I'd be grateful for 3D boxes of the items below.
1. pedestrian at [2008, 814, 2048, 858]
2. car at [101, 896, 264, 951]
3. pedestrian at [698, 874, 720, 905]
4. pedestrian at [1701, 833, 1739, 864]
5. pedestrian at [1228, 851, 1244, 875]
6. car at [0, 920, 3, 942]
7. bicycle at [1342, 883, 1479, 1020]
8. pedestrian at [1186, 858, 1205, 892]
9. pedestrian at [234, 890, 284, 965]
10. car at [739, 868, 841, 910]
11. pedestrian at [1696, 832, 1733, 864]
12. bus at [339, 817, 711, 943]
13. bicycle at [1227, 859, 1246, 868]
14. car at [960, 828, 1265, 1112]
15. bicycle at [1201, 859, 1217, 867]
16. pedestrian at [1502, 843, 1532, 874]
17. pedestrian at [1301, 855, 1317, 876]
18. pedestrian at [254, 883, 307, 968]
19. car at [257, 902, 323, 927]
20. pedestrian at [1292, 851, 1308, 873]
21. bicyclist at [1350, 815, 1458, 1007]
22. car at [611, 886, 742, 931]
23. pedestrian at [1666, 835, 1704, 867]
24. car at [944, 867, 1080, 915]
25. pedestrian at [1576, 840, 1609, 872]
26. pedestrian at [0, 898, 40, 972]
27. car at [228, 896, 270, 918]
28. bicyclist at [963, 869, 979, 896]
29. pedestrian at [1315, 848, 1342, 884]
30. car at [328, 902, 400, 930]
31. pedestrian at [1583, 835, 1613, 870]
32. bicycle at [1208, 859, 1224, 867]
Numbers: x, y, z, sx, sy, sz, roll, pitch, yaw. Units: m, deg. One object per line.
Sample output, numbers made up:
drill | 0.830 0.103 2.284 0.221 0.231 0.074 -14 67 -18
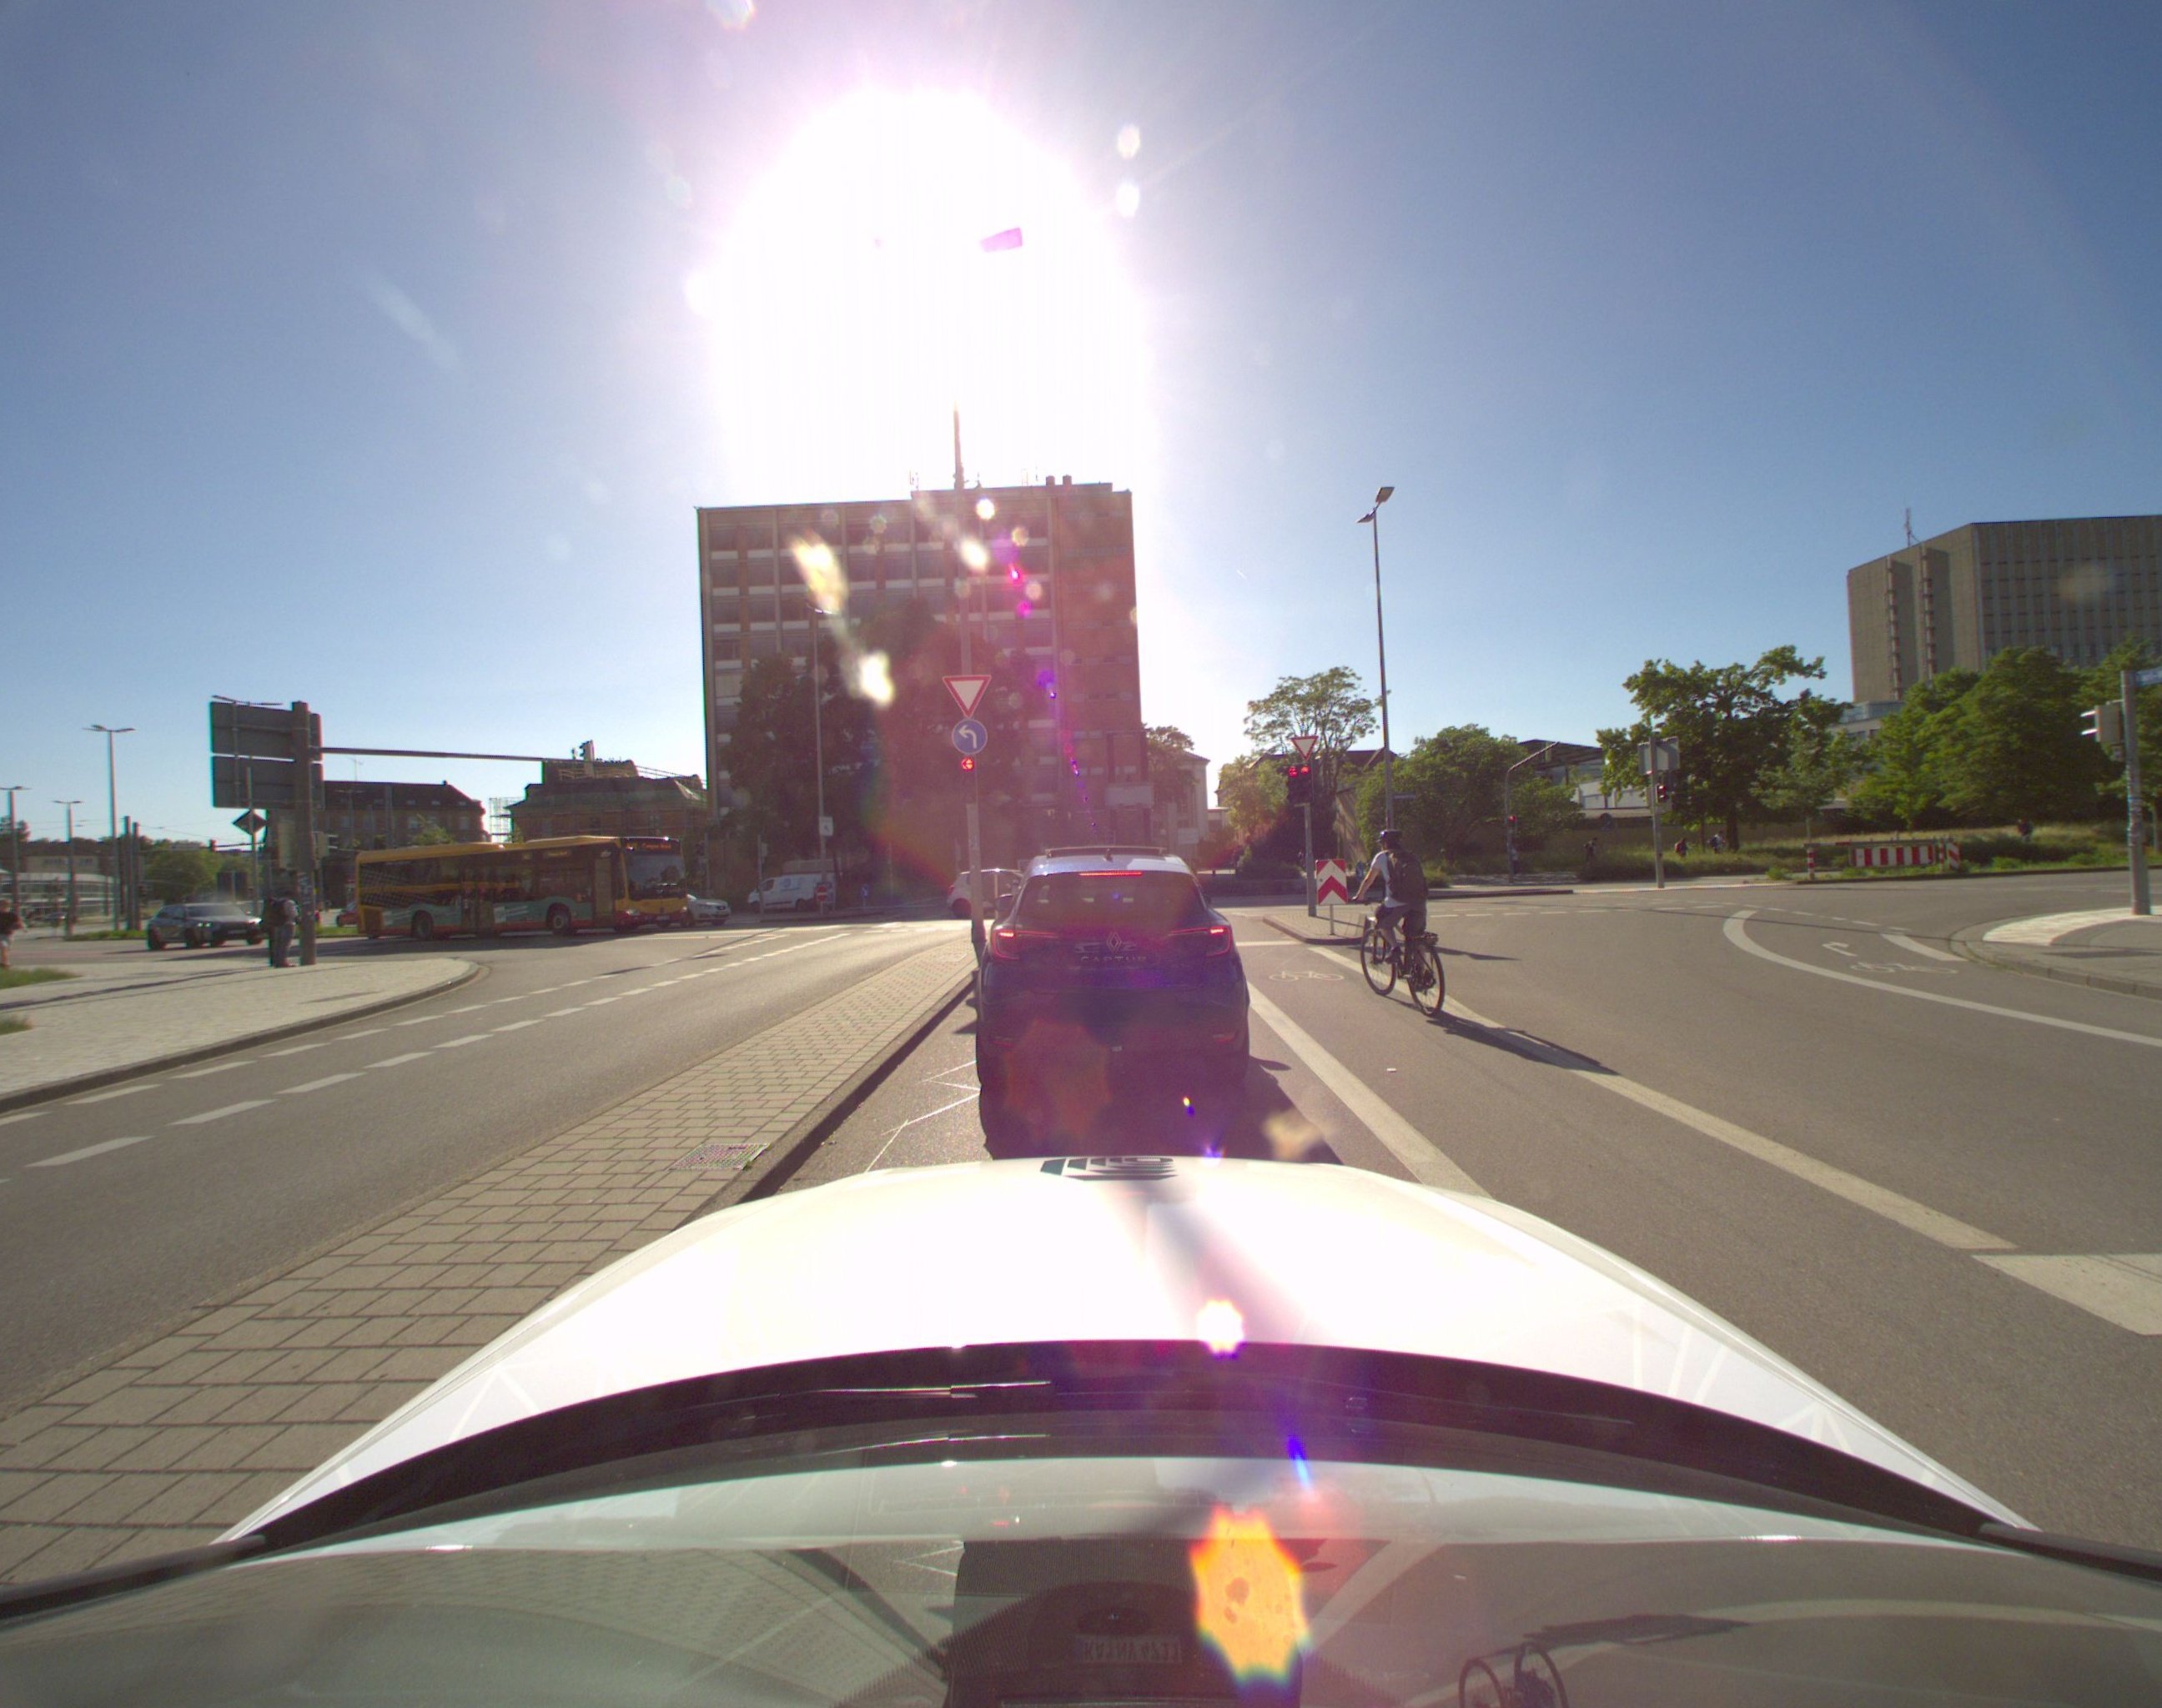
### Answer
pedestrian | 46.164 -0.866 39.704 0.891 2.079 0.814 -2 -1 5
car | -34.965 2.690 31.743 4.697 1.861 2.011 -3 -1 10
pedestrian | -25.367 2.425 55.558 0.815 2.013 1.021 -3 -1 29
pedestrian | 31.997 -0.276 40.793 1.123 1.521 0.992 -2 -1 5
pedestrian | 13.347 0.736 70.075 1.152 2.013 1.165 -2 -1 2
car | -88.457 6.252 64.076 4.006 1.772 1.769 -2 -1 -24
bicycle | 3.213 0.898 8.136 0.613 1.138 1.826 -2 0 0
pedestrian | 6.405 1.175 45.458 0.926 1.855 0.809 -3 -1 11
pedestrian | -19.285 1.708 19.109 0.627 1.697 0.608 -3 -1 25
car | -15.743 1.877 44.096 4.956 2.013 2.083 -3 -1 20
pedestrian | 32.205 -0.305 41.443 1.138 1.521 0.880 -3 -1 5
bus | -18.639 0.943 27.188 12.323 3.570 3.265 -3 -1 18
bicycle | 15.803 0.953 82.830 1.770 0.823 0.763 -2 -1 -9
car | 0.220 0.685 6.758 1.788 1.655 3.853 -1 0 1
bicycle | 15.549 1.118 99.012 1.764 0.893 0.766 -2 -1 2
pedestrian | 22.222 0.252 41.552 1.078 1.521 0.933 -2 -1 11
pedestrian | 17.972 0.870 64.178 0.932 1.613 1.176 -2 -1 2
pedestrian | -18.129 1.614 18.443 0.673 1.855 0.608 -3 -1 25
car | -53.052 4.064 54.603 3.771 1.518 2.012 -3 -1 27
pedestrian | 17.411 0.633 64.844 0.949 1.741 0.984 -2 -1 2
bicyclist | 3.170 0.532 8.066 0.674 1.785 0.939 -1 -1 0
car | -14.338 1.926 28.905 3.957 1.373 1.767 -3 0 16
pedestrian | 29.847 -0.138 40.260 1.140 1.521 0.944 -2 -1 7
car | -2.154 1.169 25.736 3.816 1.403 1.899 -2 -3 15
pedestrian | 25.372 0.115 40.384 1.069 1.521 0.880 -2 -1 6
pedestrian | -28.031 2.116 21.265 0.856 1.845 0.847 -3 -1 25
car | -80.637 5.120 78.929 3.948 2.014 2.079 -1 -1 32
bicyclist | -5.919 1.550 43.948 0.633 1.412 0.650 -3 -3 6
pedestrian | 13.489 0.651 44.436 1.288 1.855 0.969 -3 -1 13
car | -43.290 3.724 49.166 3.771 1.518 2.012 -3 -1 27
pedestrian | 26.252 -0.058 41.369 0.957 1.732 0.928 -2 -1 8
bicycle | 15.694 1.064 94.642 1.764 0.898 0.766 -2 -1 2
